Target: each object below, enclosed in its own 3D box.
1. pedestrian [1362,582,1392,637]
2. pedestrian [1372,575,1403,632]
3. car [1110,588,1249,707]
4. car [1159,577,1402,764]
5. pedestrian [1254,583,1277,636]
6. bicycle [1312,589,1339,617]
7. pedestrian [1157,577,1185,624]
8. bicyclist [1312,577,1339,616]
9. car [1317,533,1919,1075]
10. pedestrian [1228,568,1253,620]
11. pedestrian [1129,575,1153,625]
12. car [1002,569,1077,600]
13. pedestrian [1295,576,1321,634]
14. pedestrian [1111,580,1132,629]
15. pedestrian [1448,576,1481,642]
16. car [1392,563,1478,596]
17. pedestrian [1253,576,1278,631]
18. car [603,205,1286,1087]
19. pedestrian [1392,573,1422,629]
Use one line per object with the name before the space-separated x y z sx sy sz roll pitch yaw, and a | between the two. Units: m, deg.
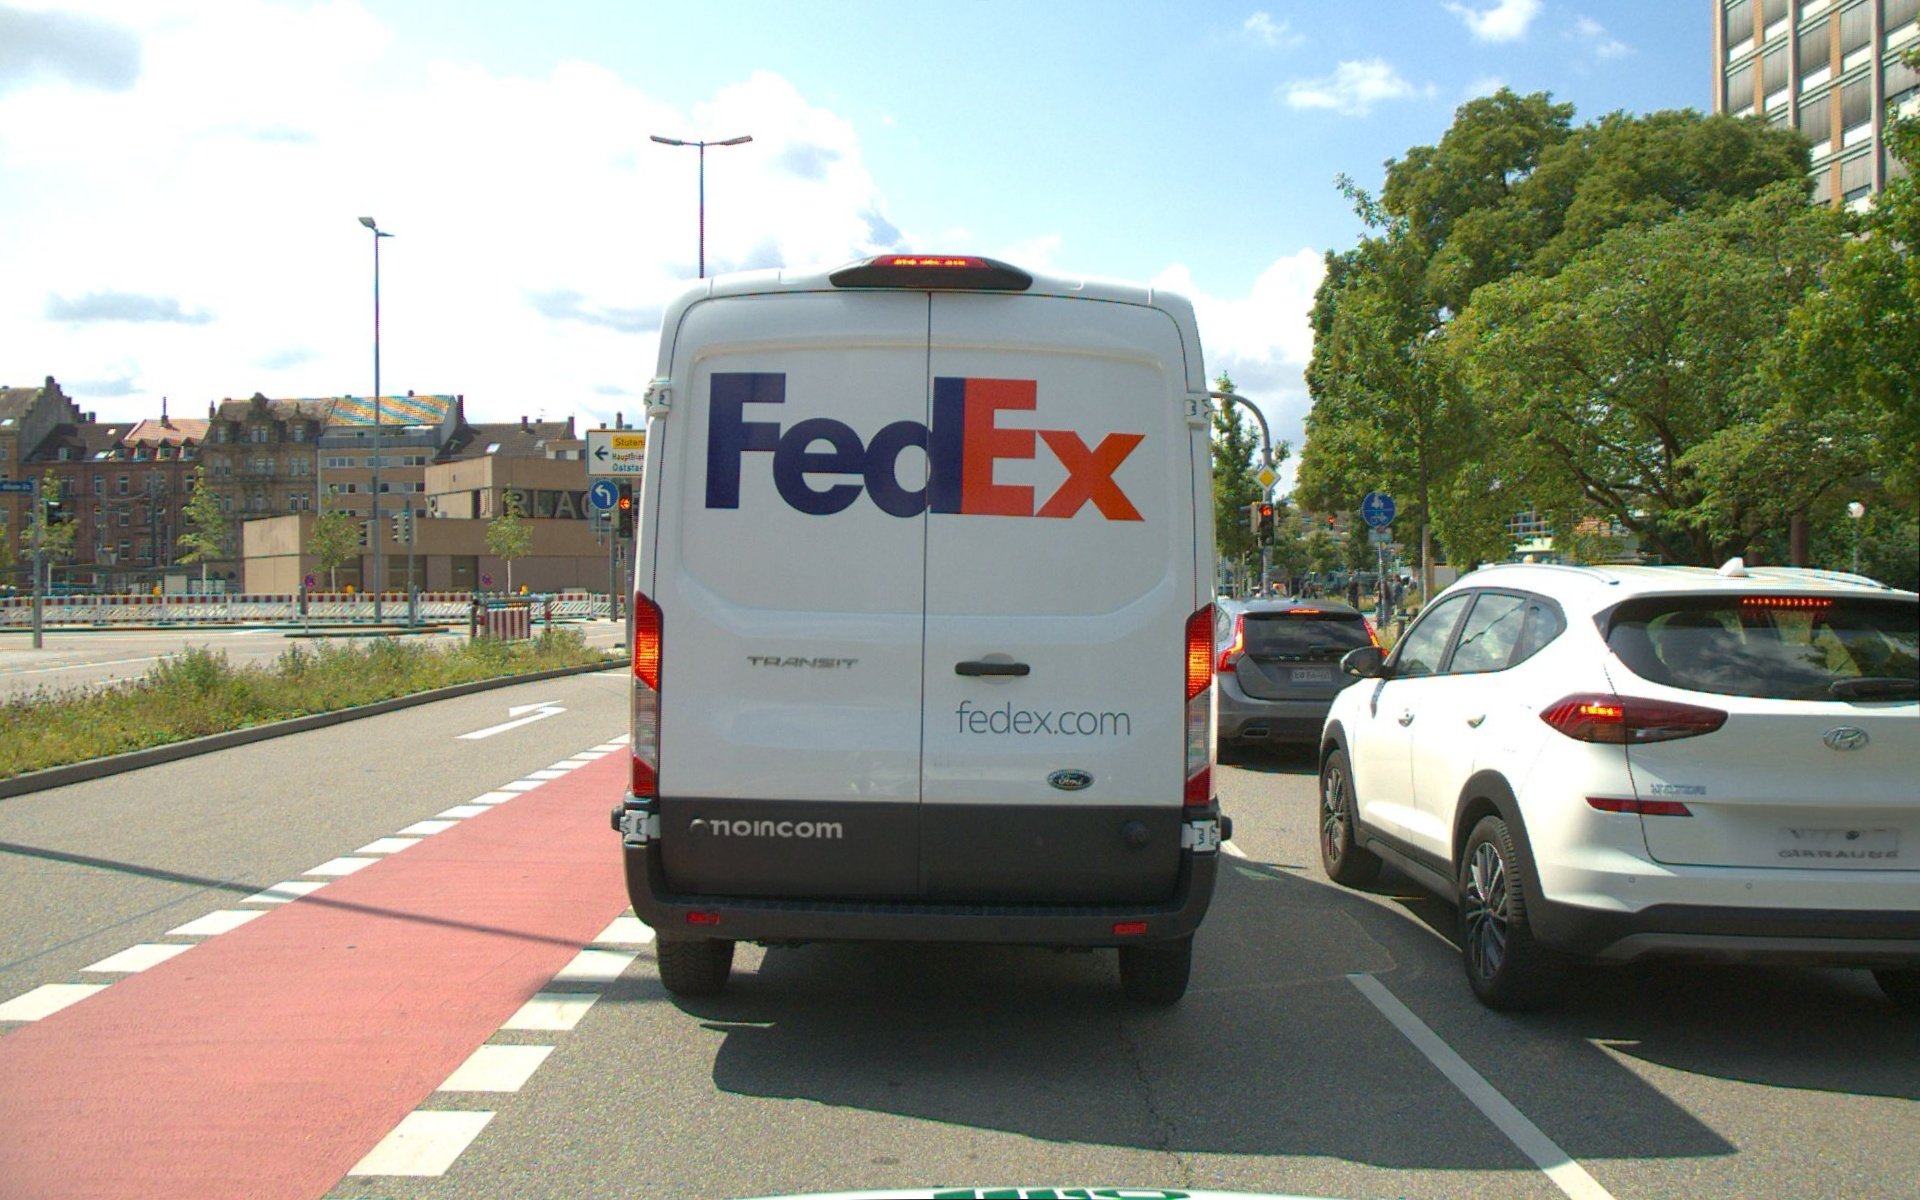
pedestrian | 12.882 0.289 51.147 0.743 1.684 0.816 0 0 3
pedestrian | 14.398 0.118 55.747 0.745 1.882 0.814 -1 0 -11
car | 2.931 0.587 22.636 1.468 1.489 3.474 0 1 1
car | 2.936 0.572 15.860 1.656 1.576 3.721 0 1 1
pedestrian | 10.932 0.337 59.196 0.742 1.882 0.817 0 0 14
bicycle | 20.832 0.159 94.220 1.395 1.489 4.314 0 1 14
pedestrian | 8.497 0.009 66.576 0.802 1.882 0.756 0 1 43
bicyclist | 20.853 -0.209 94.339 1.402 2.209 1.340 0 0 14
car | 2.853 0.619 7.211 1.777 1.708 3.974 0 1 1
pedestrian | 10.198 -0.224 60.047 0.796 1.882 0.761 0 0 2
pedestrian | 6.916 -0.012 63.217 0.744 1.882 0.816 0 0 -3
car | 7.448 -1.477 155.035 6.912 2.765 2.497 1 0 5
pedestrian | 11.420 0.145 54.281 0.743 1.882 0.816 0 0 18
pedestrian | 6.300 0.179 64.611 0.743 1.882 0.816 0 0 0
pedestrian | 14.576 0.244 47.799 0.743 1.882 0.816 0 0 3
car | 41.735 -1.786 145.286 6.941 2.765 2.487 1 0 -14
pedestrian | 10.493 0.120 56.833 0.743 1.882 0.816 0 0 18
car | -0.018 0.114 7.165 2.030 2.626 4.428 0 1 1
pedestrian | 15.193 0.039 56.231 0.745 1.882 0.814 0 0 -9
